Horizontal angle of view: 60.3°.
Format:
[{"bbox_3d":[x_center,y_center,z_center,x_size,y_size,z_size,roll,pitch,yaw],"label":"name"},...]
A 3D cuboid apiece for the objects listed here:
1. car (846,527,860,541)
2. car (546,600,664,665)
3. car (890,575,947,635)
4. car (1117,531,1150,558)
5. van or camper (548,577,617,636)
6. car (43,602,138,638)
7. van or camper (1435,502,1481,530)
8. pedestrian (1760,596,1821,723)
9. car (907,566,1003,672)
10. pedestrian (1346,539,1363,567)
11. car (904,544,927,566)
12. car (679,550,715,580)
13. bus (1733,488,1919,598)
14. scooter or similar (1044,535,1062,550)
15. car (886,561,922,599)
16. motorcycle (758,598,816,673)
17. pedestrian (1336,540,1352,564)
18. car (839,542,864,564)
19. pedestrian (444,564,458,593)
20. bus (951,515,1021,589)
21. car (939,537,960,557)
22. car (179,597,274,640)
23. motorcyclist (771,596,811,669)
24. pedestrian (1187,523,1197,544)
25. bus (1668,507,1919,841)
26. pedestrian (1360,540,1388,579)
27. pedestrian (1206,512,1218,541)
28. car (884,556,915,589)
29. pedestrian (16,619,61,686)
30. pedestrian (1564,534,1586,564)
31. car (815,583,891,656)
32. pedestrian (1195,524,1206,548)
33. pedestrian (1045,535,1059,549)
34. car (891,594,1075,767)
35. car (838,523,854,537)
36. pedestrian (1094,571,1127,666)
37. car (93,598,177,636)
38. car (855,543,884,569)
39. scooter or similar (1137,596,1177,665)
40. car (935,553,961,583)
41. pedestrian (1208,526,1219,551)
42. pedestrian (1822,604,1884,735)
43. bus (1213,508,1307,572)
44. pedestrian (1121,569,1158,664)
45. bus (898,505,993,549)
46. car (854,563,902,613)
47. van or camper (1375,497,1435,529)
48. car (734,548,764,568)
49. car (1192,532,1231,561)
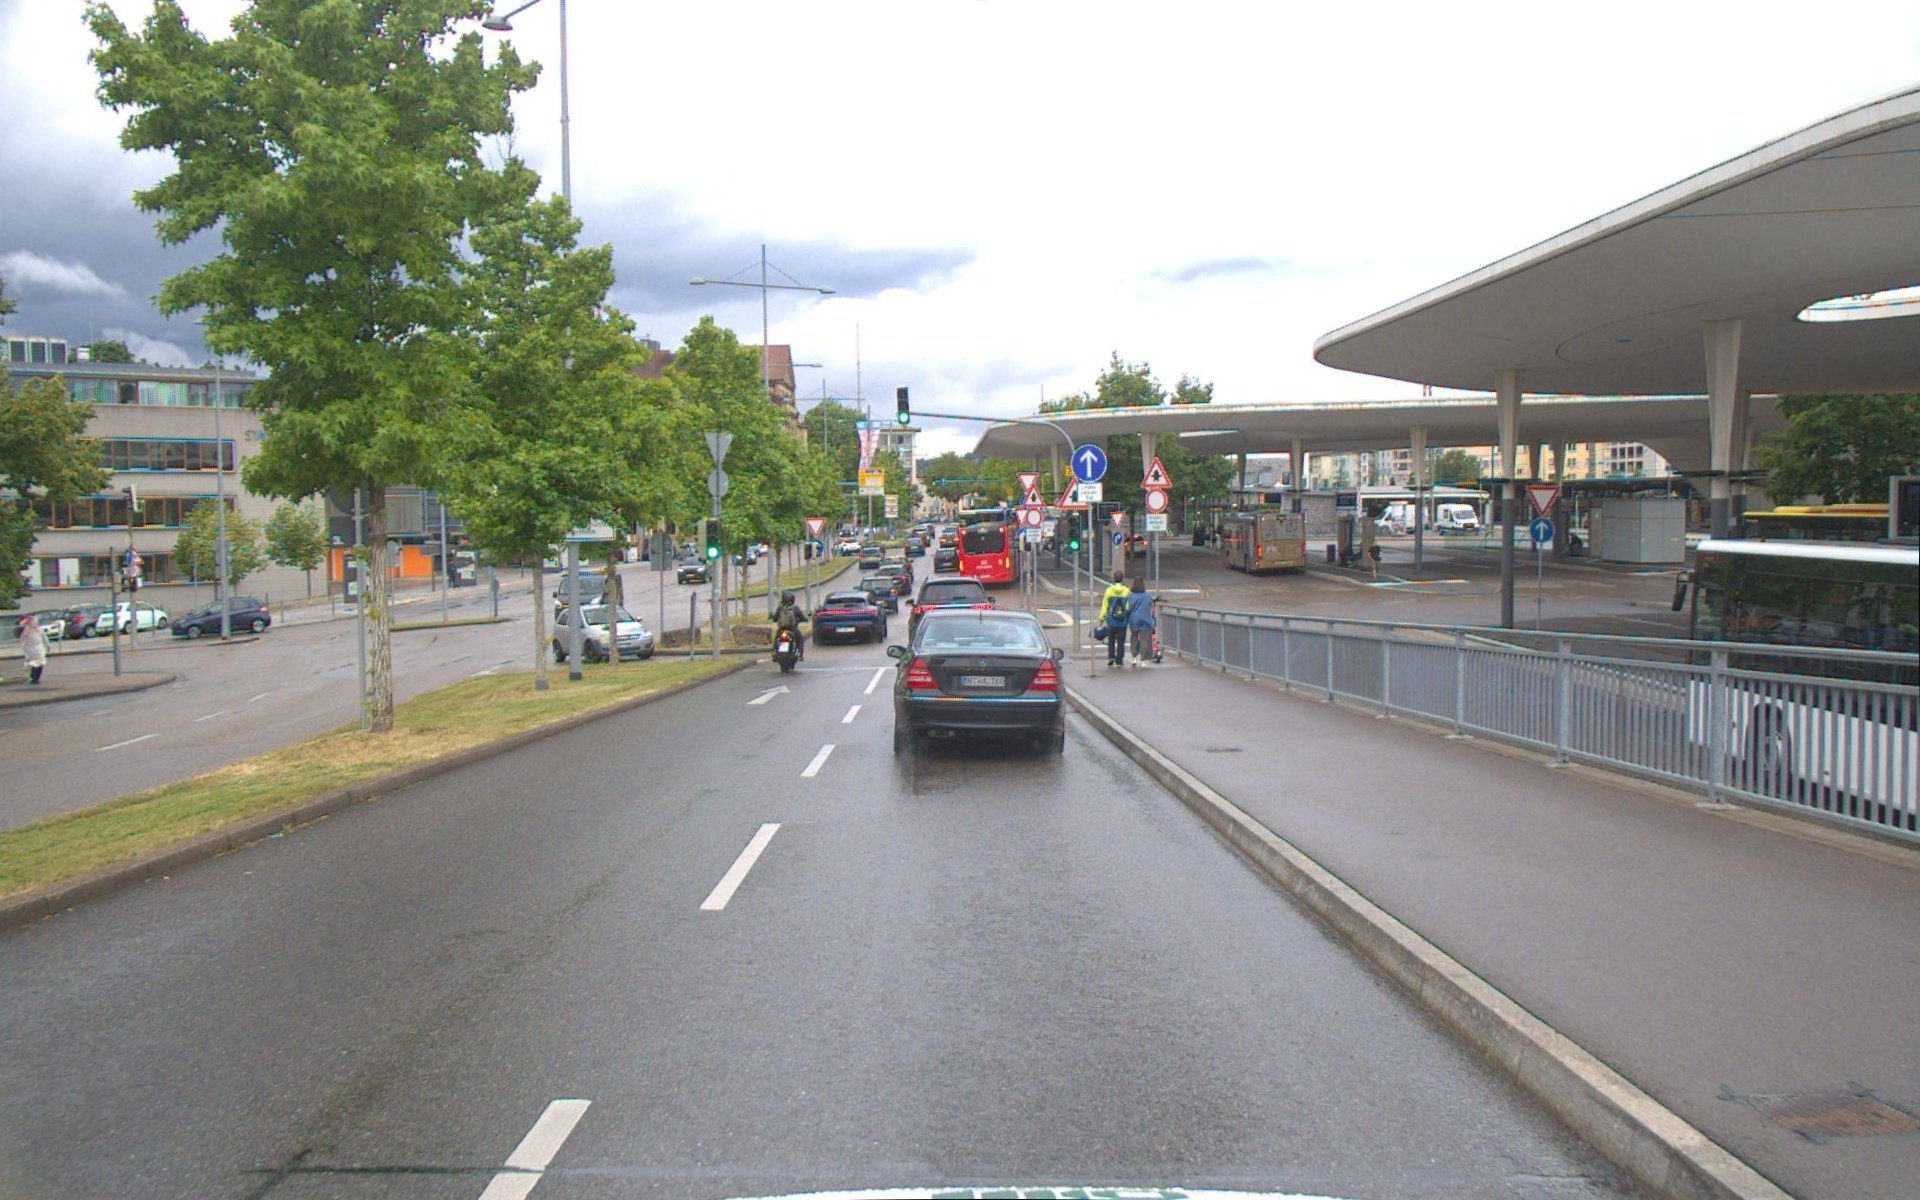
[{"bbox_3d":[-14.016,-8.658,217.130,1.544,1.593,3.431,-4,3,0],"label":"car"},{"bbox_3d":[-9.215,0.799,42.726,1.618,1.473,3.830,-4,2,-34],"label":"car"},{"bbox_3d":[-1.322,0.123,54.458,1.706,1.593,3.872,-4,4,0],"label":"car"},{"bbox_3d":[11.937,-3.855,113.997,1.677,1.690,4.240,-1,3,-1],"label":"car"},{"bbox_3d":[-14.774,0.273,65.034,2.176,2.108,5.272,-3,0,-9],"label":"van or camper"},{"bbox_3d":[-43.730,0.998,83.231,1.731,1.521,3.773,0,4,38],"label":"car"},{"bbox_3d":[40.573,-6.841,134.865,1.953,2.139,5.480,1,1,-1],"label":"van or camper"},{"bbox_3d":[13.118,0.929,26.128,0.580,1.919,0.640,-3,5,-37],"label":"pedestrian"},{"bbox_3d":[-0.116,0.362,37.681,1.918,1.907,4.875,-4,4,0],"label":"car"},{"bbox_3d":[20.635,-2.466,86.570,0.776,1.401,0.634,-2,3,17],"label":"pedestrian"},{"bbox_3d":[-3.665,-3.693,136.161,1.828,1.713,3.999,1,0,-1],"label":"car"},{"bbox_3d":[-17.419,-2.345,109.531,1.871,1.690,4.856,-2,4,-4],"label":"car"},{"bbox_3d":[30.886,-2.128,56.645,2.732,3.312,12.141,-2,4,-2],"label":"bus"},{"bbox_3d":[7.005,-4.344,124.931,1.216,1.030,0.765,-2,2,14],"label":"scooter or similar"},{"bbox_3d":[-2.741,-1.011,81.695,1.543,1.530,3.873,-4,4,1],"label":"car"},{"bbox_3d":[-3.407,0.692,32.782,0.776,1.283,1.856,-3,3,3],"label":"motorcycle"},{"bbox_3d":[20.631,-2.598,88.777,0.776,1.247,0.634,-2,3,17],"label":"pedestrian"},{"bbox_3d":[-9.635,-4.163,146.714,1.614,1.836,3.626,2,0,-14],"label":"car"},{"bbox_3d":[-31.657,-1.336,102.860,0.464,1.712,0.764,-2,3,6],"label":"pedestrian"},{"bbox_3d":[1.297,-2.625,85.845,3.219,3.348,10.882,-3,3,0],"label":"bus"},{"bbox_3d":[-0.939,-4.665,145.998,1.828,1.713,3.999,1,0,-1],"label":"car"},{"bbox_3d":[-32.247,0.785,72.714,3.620,1.463,1.814,-6,4,-28],"label":"car"},{"bbox_3d":[-3.357,0.632,32.855,0.628,1.370,0.689,-3,3,3],"label":"motorcyclist"},{"bbox_3d":[17.559,-5.020,125.213,0.568,1.606,0.560,1,-1,29],"label":"pedestrian"},{"bbox_3d":[11.543,0.885,17.123,2.787,3.419,12.430,1,4,-1],"label":"bus"},{"bbox_3d":[18.882,-1.856,75.437,0.709,1.712,1.013,-5,3,-26],"label":"pedestrian"},{"bbox_3d":[18.535,-5.417,121.622,0.709,2.049,0.669,1,-1,26],"label":"pedestrian"},{"bbox_3d":[-3.376,-1.566,92.931,1.544,1.593,3.872,-4,4,0],"label":"car"},{"bbox_3d":[-22.774,1.286,40.876,0.638,1.597,0.631,-3,0,4],"label":"pedestrian"},{"bbox_3d":[33.047,-2.761,88.862,0.779,1.613,0.907,0,2,-7],"label":"pedestrian"},{"bbox_3d":[-2.960,0.497,46.597,1.779,1.597,4.405,-4,4,0],"label":"car"},{"bbox_3d":[18.218,-4.853,125.151,0.569,1.746,0.559,1,-1,35],"label":"pedestrian"},{"bbox_3d":[6.953,-4.367,124.877,0.894,1.002,0.634,-1,-1,13],"label":"pedestrian"},{"bbox_3d":[0.182,0.723,17.210,1.663,1.487,4.303,-1,1,-1],"label":"car"},{"bbox_3d":[-14.598,-8.924,211.265,1.744,1.593,3.431,-4,3,0],"label":"car"},{"bbox_3d":[2.725,0.324,29.902,0.512,1.699,0.580,-1,0,-1],"label":"pedestrian"},{"bbox_3d":[-39.701,0.813,79.713,1.593,1.521,3.586,-2,3,15],"label":"car"},{"bbox_3d":[-6.351,-3.088,116.429,1.828,1.713,3.999,1,0,-1],"label":"car"},{"bbox_3d":[3.707,0.554,31.177,0.454,1.242,1.859,-2,0,-1],"label":"scooter or similar"},{"bbox_3d":[-0.763,-2.065,105.844,1.544,1.593,3.872,-4,4,0],"label":"car"},{"bbox_3d":[17.586,-4.266,114.770,0.549,1.721,0.613,-2,3,-7],"label":"pedestrian"},{"bbox_3d":[13.812,1.058,25.581,0.579,1.937,0.641,-3,4,-33],"label":"pedestrian"},{"bbox_3d":[16.040,-3.346,89.293,2.666,3.095,12.092,-3,3,0],"label":"bus"},{"bbox_3d":[3.245,0.306,29.892,0.577,1.700,0.580,1,-2,-1],"label":"pedestrian"},{"bbox_3d":[-1.546,-7.227,165.798,2.820,4.056,11.696,-4,4,-39],"label":"bus"},{"bbox_3d":[-3.225,-0.488,65.706,1.642,1.650,3.872,-4,4,0],"label":"car"},{"bbox_3d":[38.016,-7.453,141.262,4.514,2.602,2.118,1,1,-2],"label":"van or camper"},{"bbox_3d":[-18.013,-3.618,141.469,1.809,1.530,4.921,-2,3,1],"label":"car"},{"bbox_3d":[14.373,-3.069,94.593,1.614,1.477,3.237,-3,4,-2],"label":"car"}]
